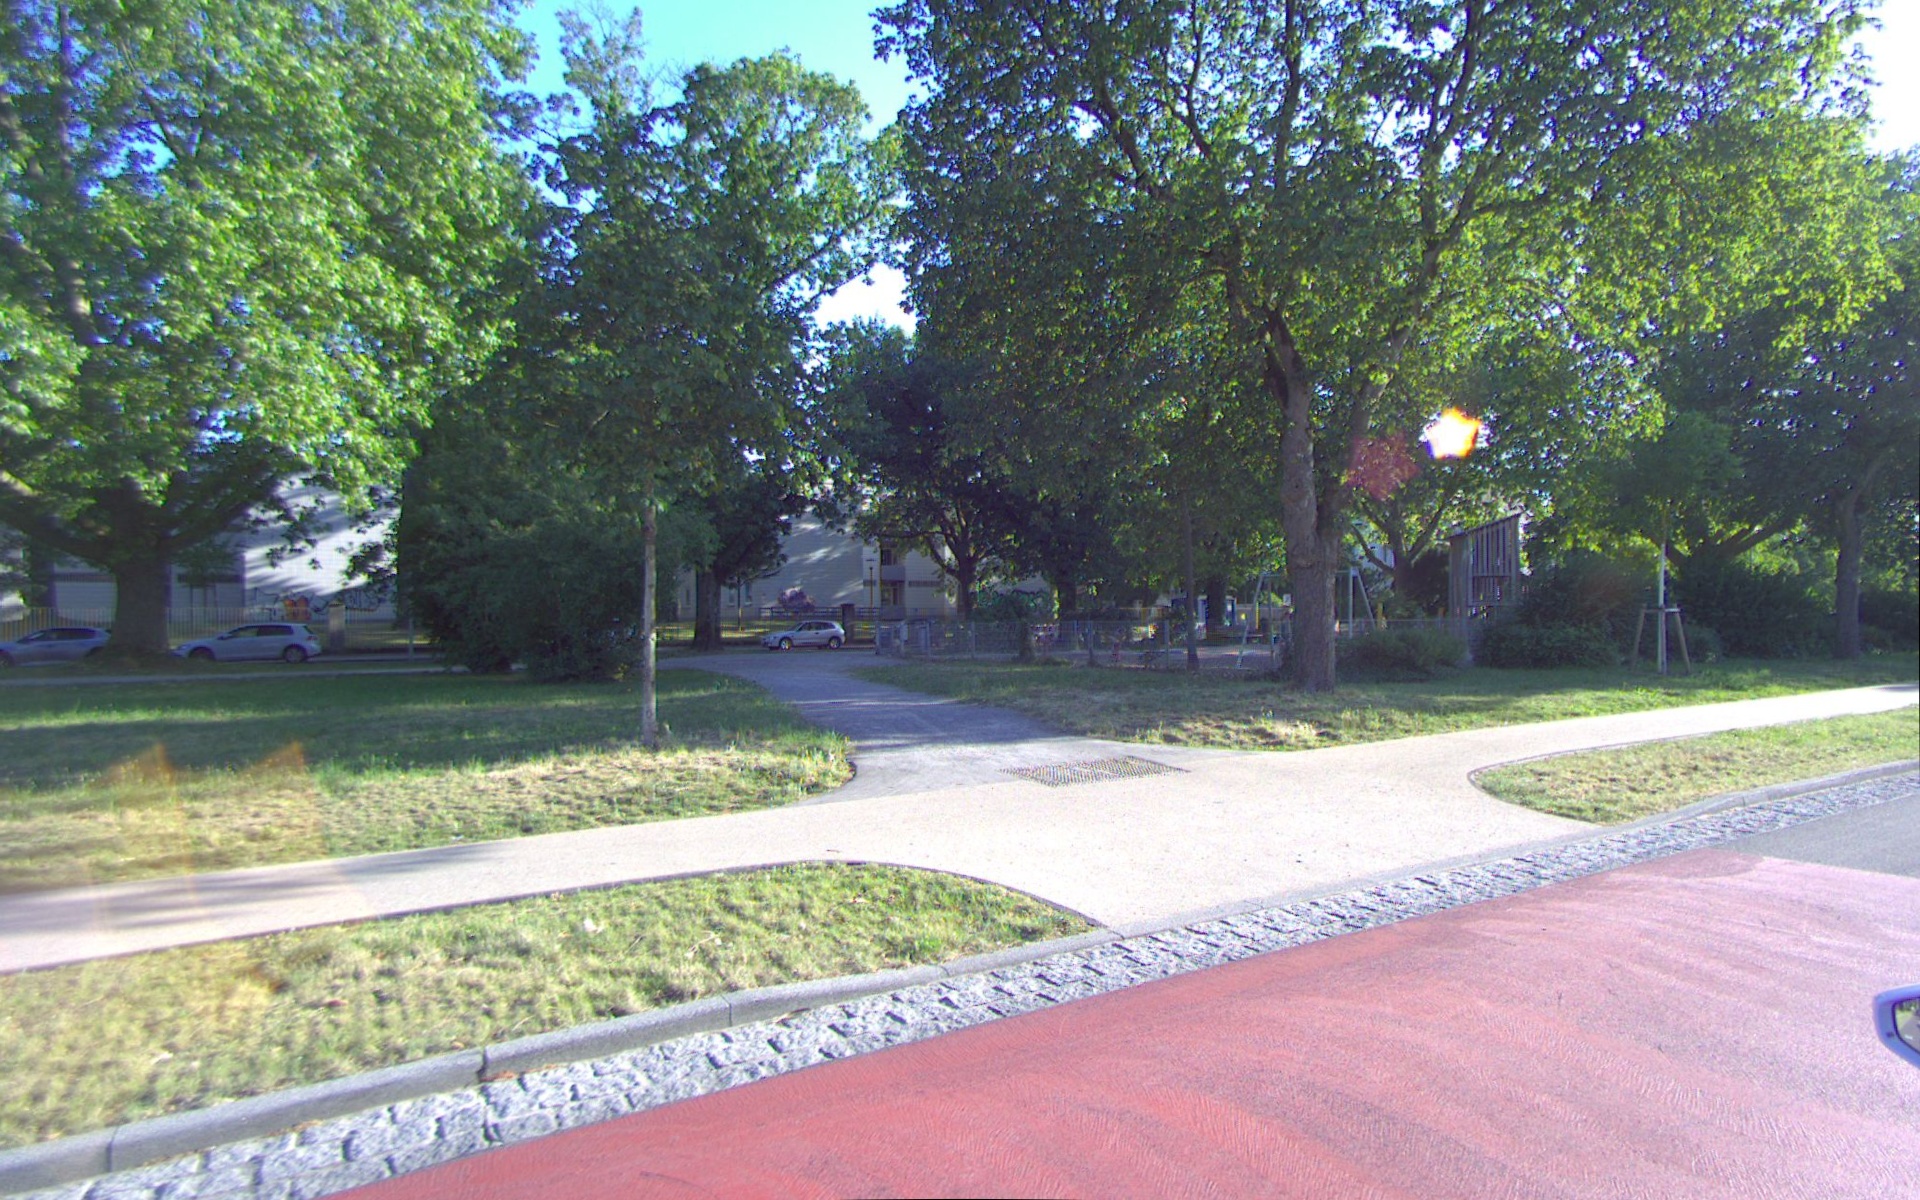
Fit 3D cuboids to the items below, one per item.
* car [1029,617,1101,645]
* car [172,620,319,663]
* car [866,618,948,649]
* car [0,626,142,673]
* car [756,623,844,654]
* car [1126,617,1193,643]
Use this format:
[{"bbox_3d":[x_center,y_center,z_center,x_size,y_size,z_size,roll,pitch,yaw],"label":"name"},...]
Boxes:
[{"bbox_3d":[5.646,1.639,53.993,3.708,1.386,1.515,0,0,-30],"label":"car"},{"bbox_3d":[-24.831,1.412,35.076,4.062,1.386,1.514,0,0,-32],"label":"car"},{"bbox_3d":[-2.576,1.608,49.048,3.708,1.386,1.515,0,0,-30],"label":"car"},{"bbox_3d":[-29.114,1.590,32.635,3.750,1.386,1.514,0,0,-32],"label":"car"},{"bbox_3d":[-7.357,1.765,46.187,3.708,1.309,1.515,0,0,-30],"label":"car"},{"bbox_3d":[11.350,1.673,57.091,3.708,1.386,1.515,0,0,-30],"label":"car"}]
